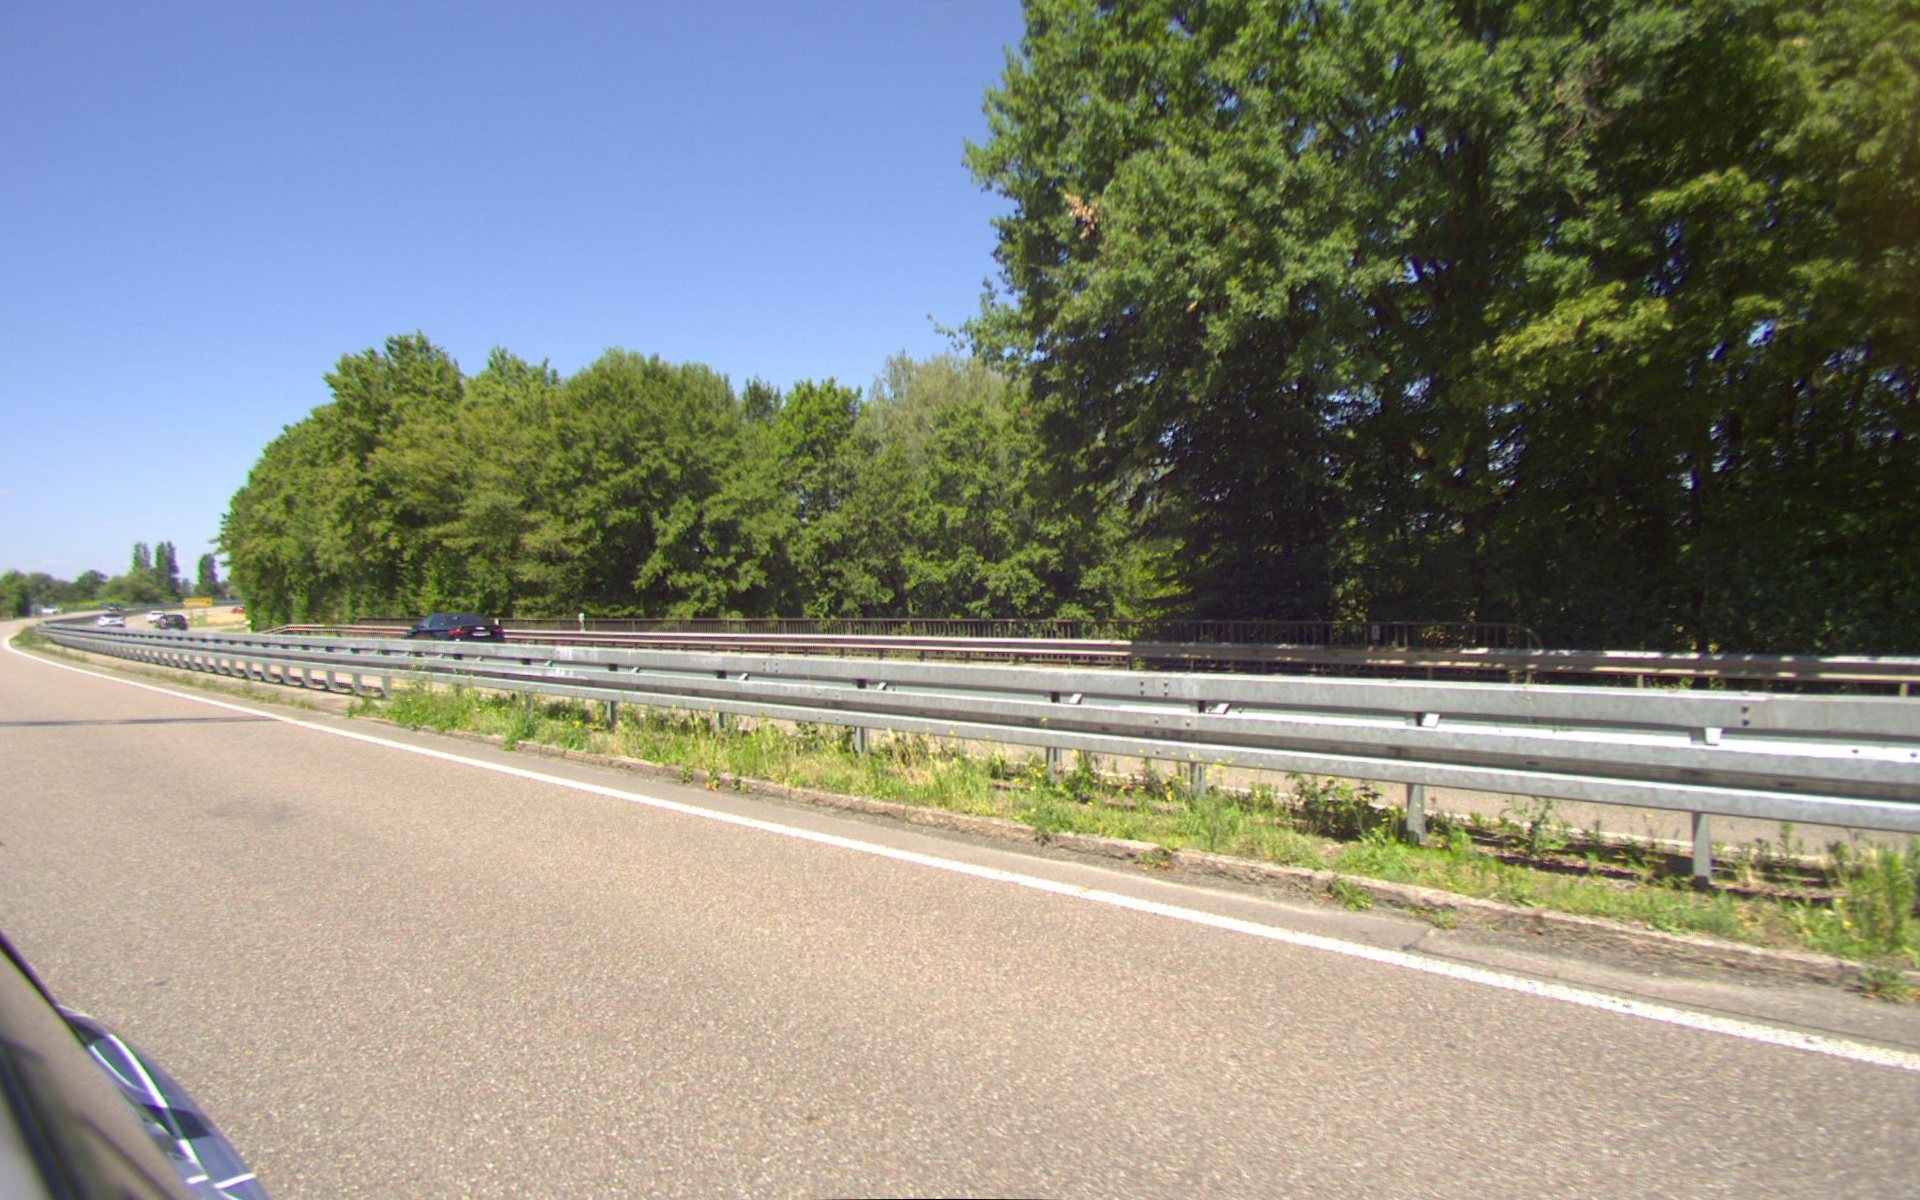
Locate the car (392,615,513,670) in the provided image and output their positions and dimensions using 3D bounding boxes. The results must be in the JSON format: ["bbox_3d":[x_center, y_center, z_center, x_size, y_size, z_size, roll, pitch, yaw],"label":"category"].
[{"bbox_3d":[-15.390,1.232,30.573,4.684,1.540,1.736,-1,-1,43],"label":"car"}]

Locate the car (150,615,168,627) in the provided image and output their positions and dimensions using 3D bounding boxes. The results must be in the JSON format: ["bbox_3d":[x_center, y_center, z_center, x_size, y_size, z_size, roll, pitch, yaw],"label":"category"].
[{"bbox_3d":[-104.705,2.736,132.262,1.630,1.458,4.226,0,-1,-40],"label":"car"}]

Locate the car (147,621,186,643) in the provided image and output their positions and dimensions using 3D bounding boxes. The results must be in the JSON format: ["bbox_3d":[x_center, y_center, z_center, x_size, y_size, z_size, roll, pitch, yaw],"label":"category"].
[{"bbox_3d":[-57.084,2.308,72.793,3.998,1.540,1.633,-1,-1,43],"label":"car"}]

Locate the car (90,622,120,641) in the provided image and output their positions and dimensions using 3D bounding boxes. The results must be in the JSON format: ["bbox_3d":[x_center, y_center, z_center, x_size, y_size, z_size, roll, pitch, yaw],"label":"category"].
[{"bbox_3d":[-74.043,2.683,87.617,4.221,1.619,1.632,-1,-1,45],"label":"car"}]
